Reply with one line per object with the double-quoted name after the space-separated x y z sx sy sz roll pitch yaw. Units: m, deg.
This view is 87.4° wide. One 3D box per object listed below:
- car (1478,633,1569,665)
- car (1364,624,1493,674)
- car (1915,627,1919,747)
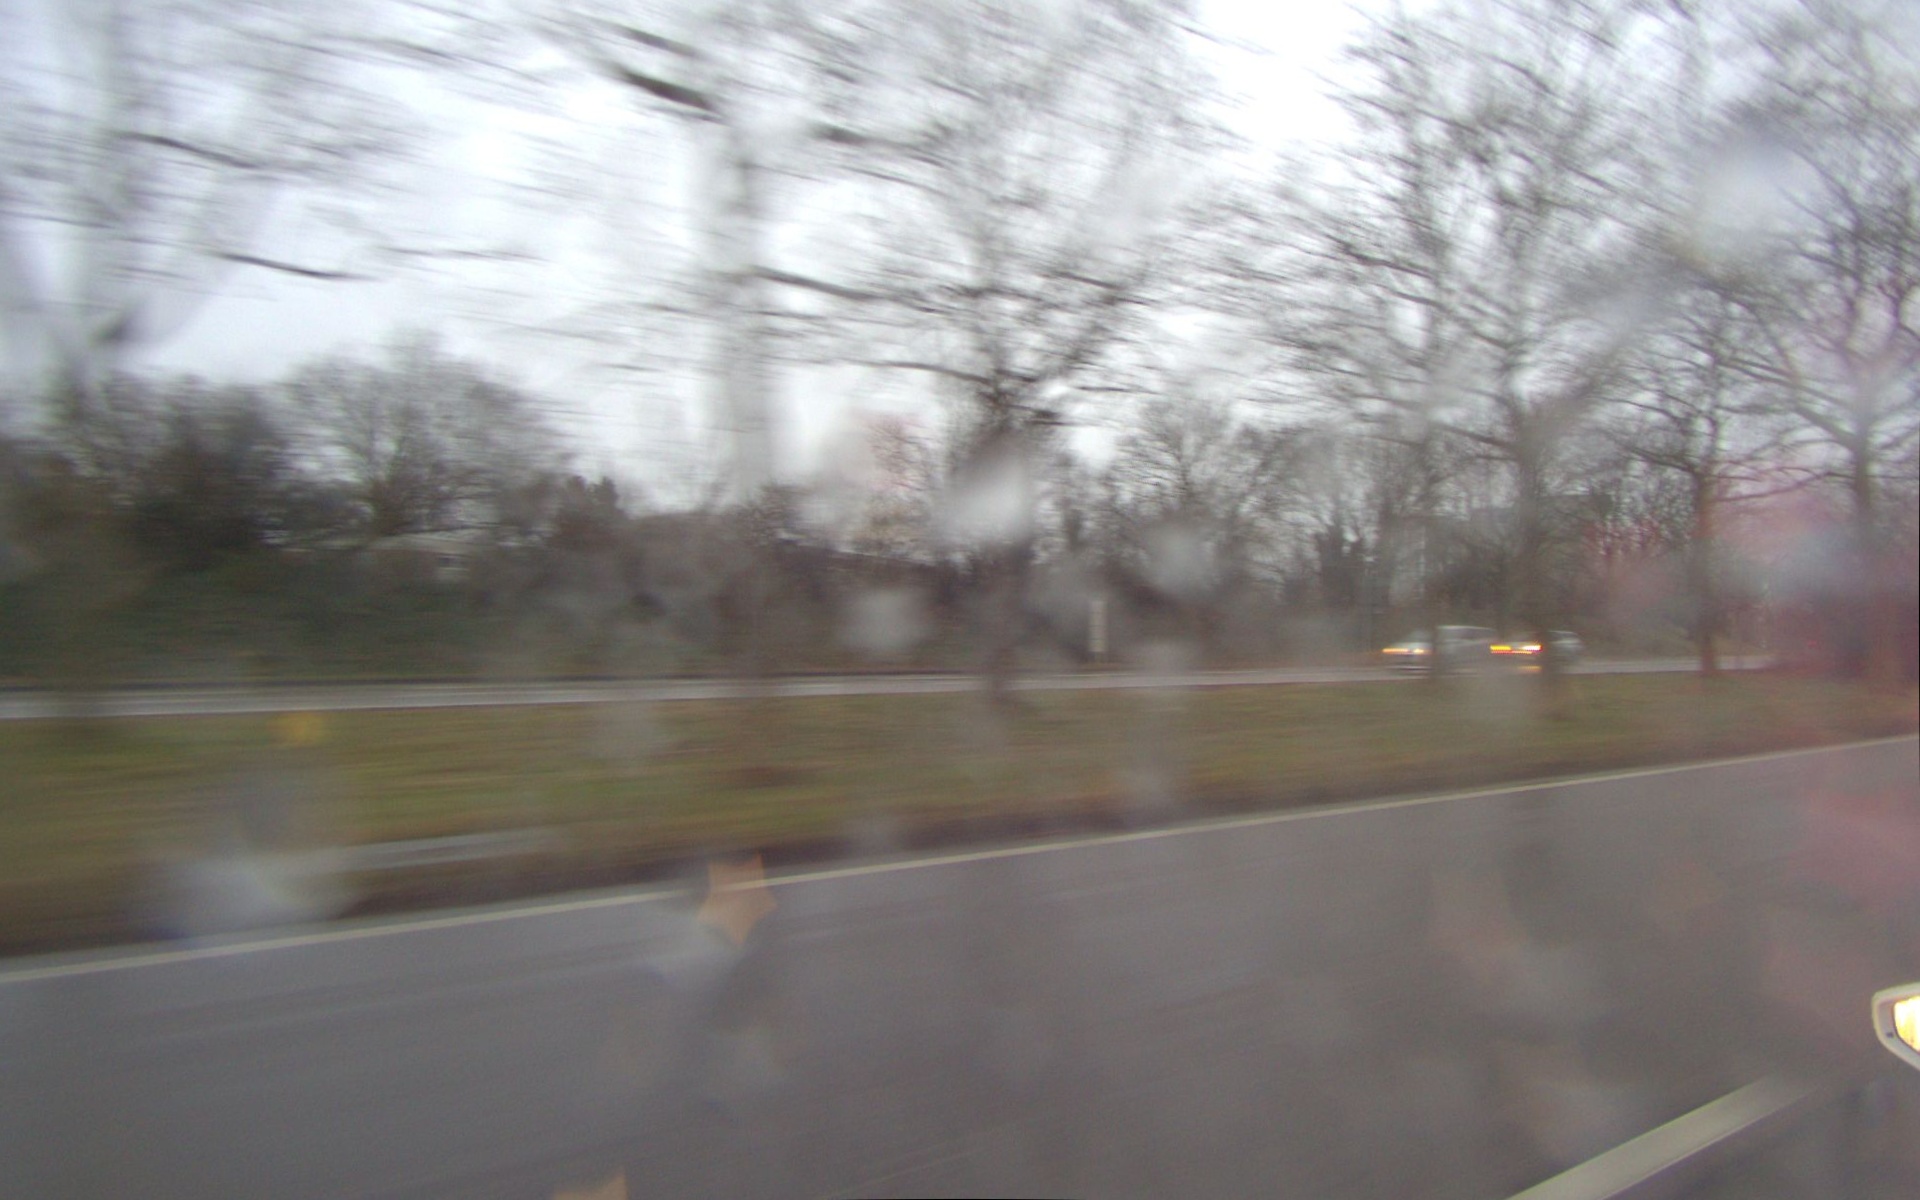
24.590 2.159 43.825 4.053 1.319 1.572 2 -2 -28 "car"
14.730 1.530 31.523 3.931 1.444 1.740 2 -2 -30 "car"
13.928 1.043 12.446 4.260 1.623 1.983 2 0 -32 "car"
